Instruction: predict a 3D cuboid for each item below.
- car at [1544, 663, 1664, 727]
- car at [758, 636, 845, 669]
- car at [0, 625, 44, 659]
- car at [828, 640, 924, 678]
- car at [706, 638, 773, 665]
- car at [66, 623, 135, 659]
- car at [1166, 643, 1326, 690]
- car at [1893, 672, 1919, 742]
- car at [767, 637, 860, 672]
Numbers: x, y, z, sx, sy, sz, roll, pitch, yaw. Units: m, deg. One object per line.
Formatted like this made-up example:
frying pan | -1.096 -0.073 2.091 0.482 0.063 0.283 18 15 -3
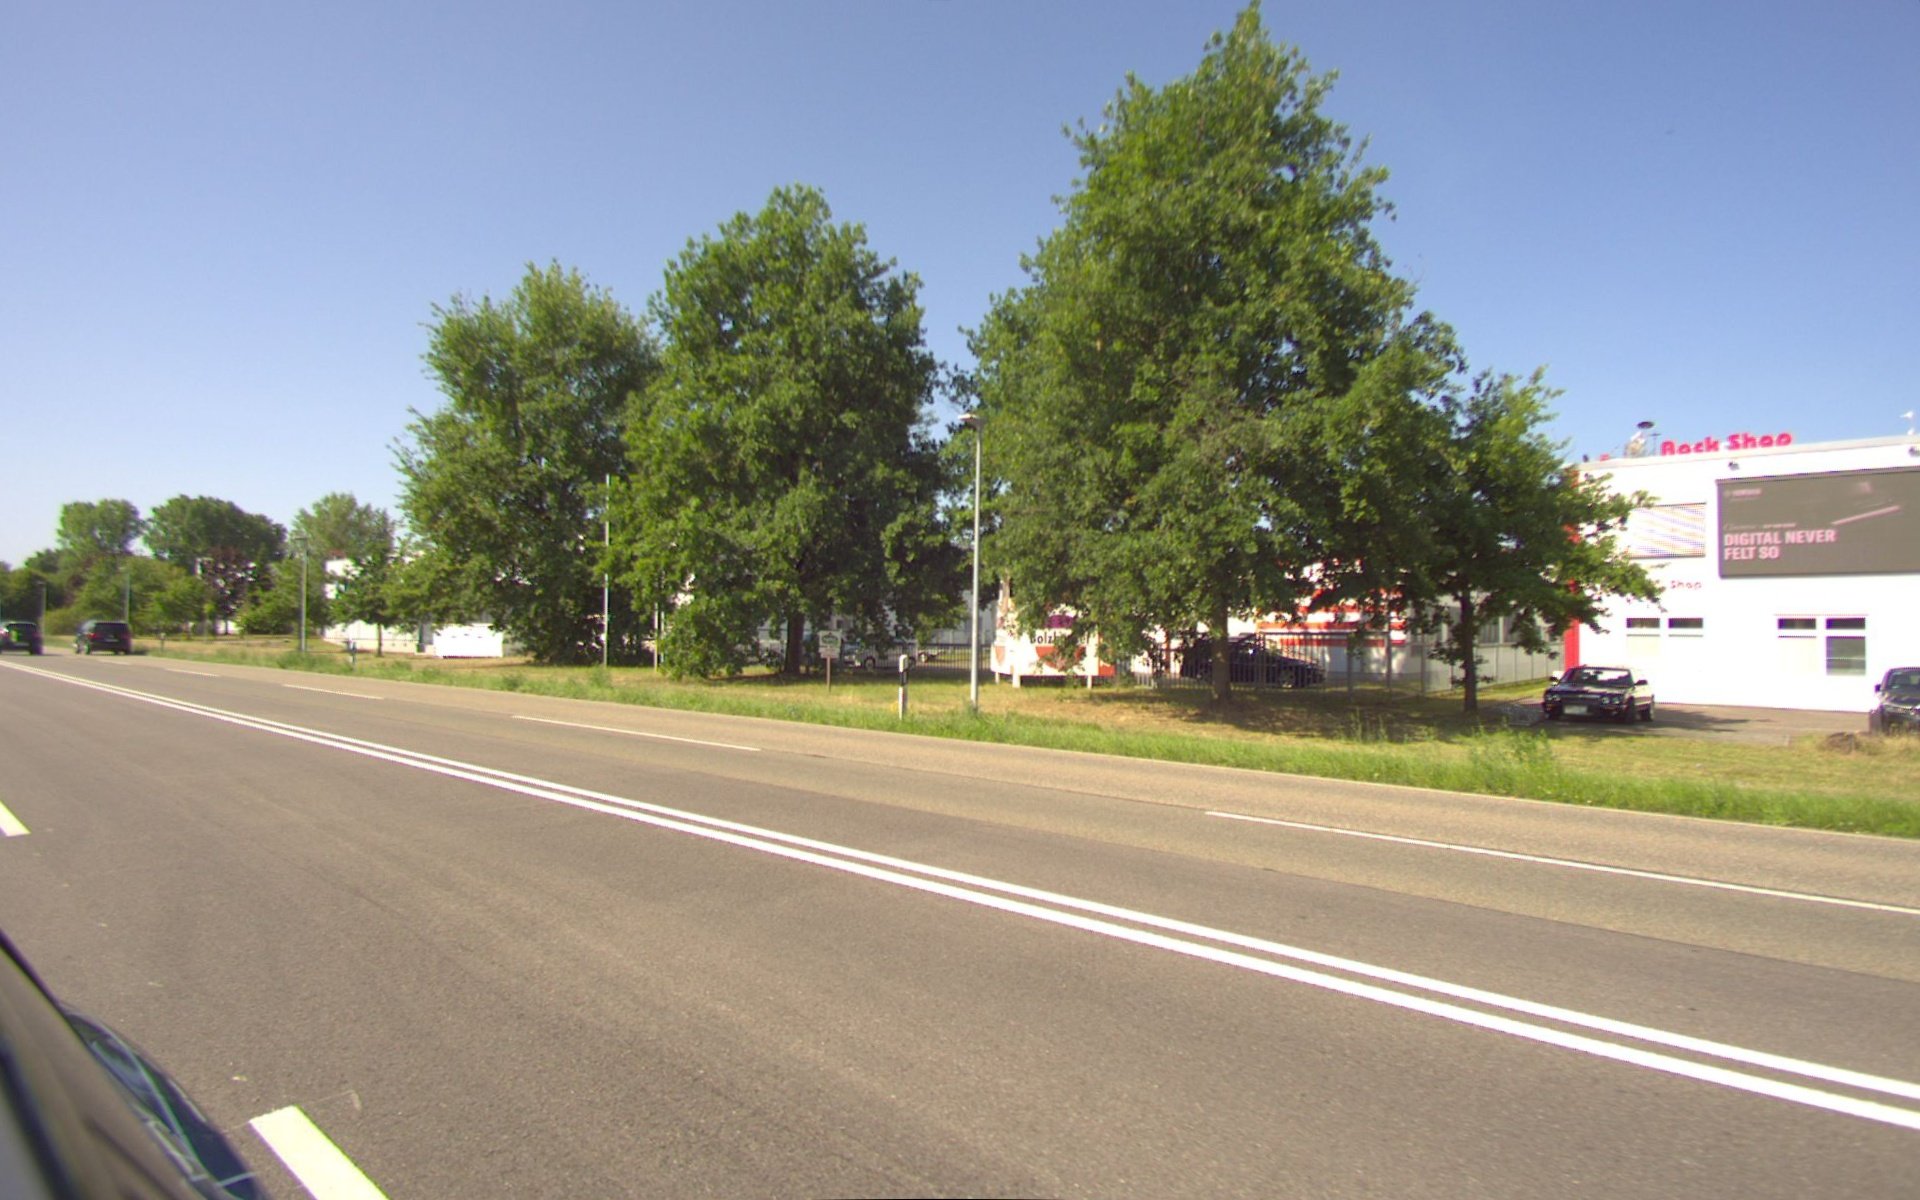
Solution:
car | 15.592 2.291 24.412 1.856 1.335 4.305 0 -5 41
car | -7.560 2.496 48.492 3.942 1.512 1.741 1 -2 -2
car | -43.015 1.913 46.014 3.773 1.461 1.501 -1 -4 41
car | -3.488 2.433 42.472 1.757 1.512 3.945 -1 -3 41
car | -11.850 2.735 54.386 3.721 1.400 1.619 -1 -2 41
car | -42.120 2.002 49.540 4.386 1.684 1.807 -1 -4 40
car | 9.164 2.116 32.657 4.658 1.360 1.769 -1 -3 39
car | 20.008 2.132 20.259 1.862 1.316 3.944 -1 -4 42
car | -6.496 2.407 45.251 1.757 1.512 3.945 -1 -3 41
